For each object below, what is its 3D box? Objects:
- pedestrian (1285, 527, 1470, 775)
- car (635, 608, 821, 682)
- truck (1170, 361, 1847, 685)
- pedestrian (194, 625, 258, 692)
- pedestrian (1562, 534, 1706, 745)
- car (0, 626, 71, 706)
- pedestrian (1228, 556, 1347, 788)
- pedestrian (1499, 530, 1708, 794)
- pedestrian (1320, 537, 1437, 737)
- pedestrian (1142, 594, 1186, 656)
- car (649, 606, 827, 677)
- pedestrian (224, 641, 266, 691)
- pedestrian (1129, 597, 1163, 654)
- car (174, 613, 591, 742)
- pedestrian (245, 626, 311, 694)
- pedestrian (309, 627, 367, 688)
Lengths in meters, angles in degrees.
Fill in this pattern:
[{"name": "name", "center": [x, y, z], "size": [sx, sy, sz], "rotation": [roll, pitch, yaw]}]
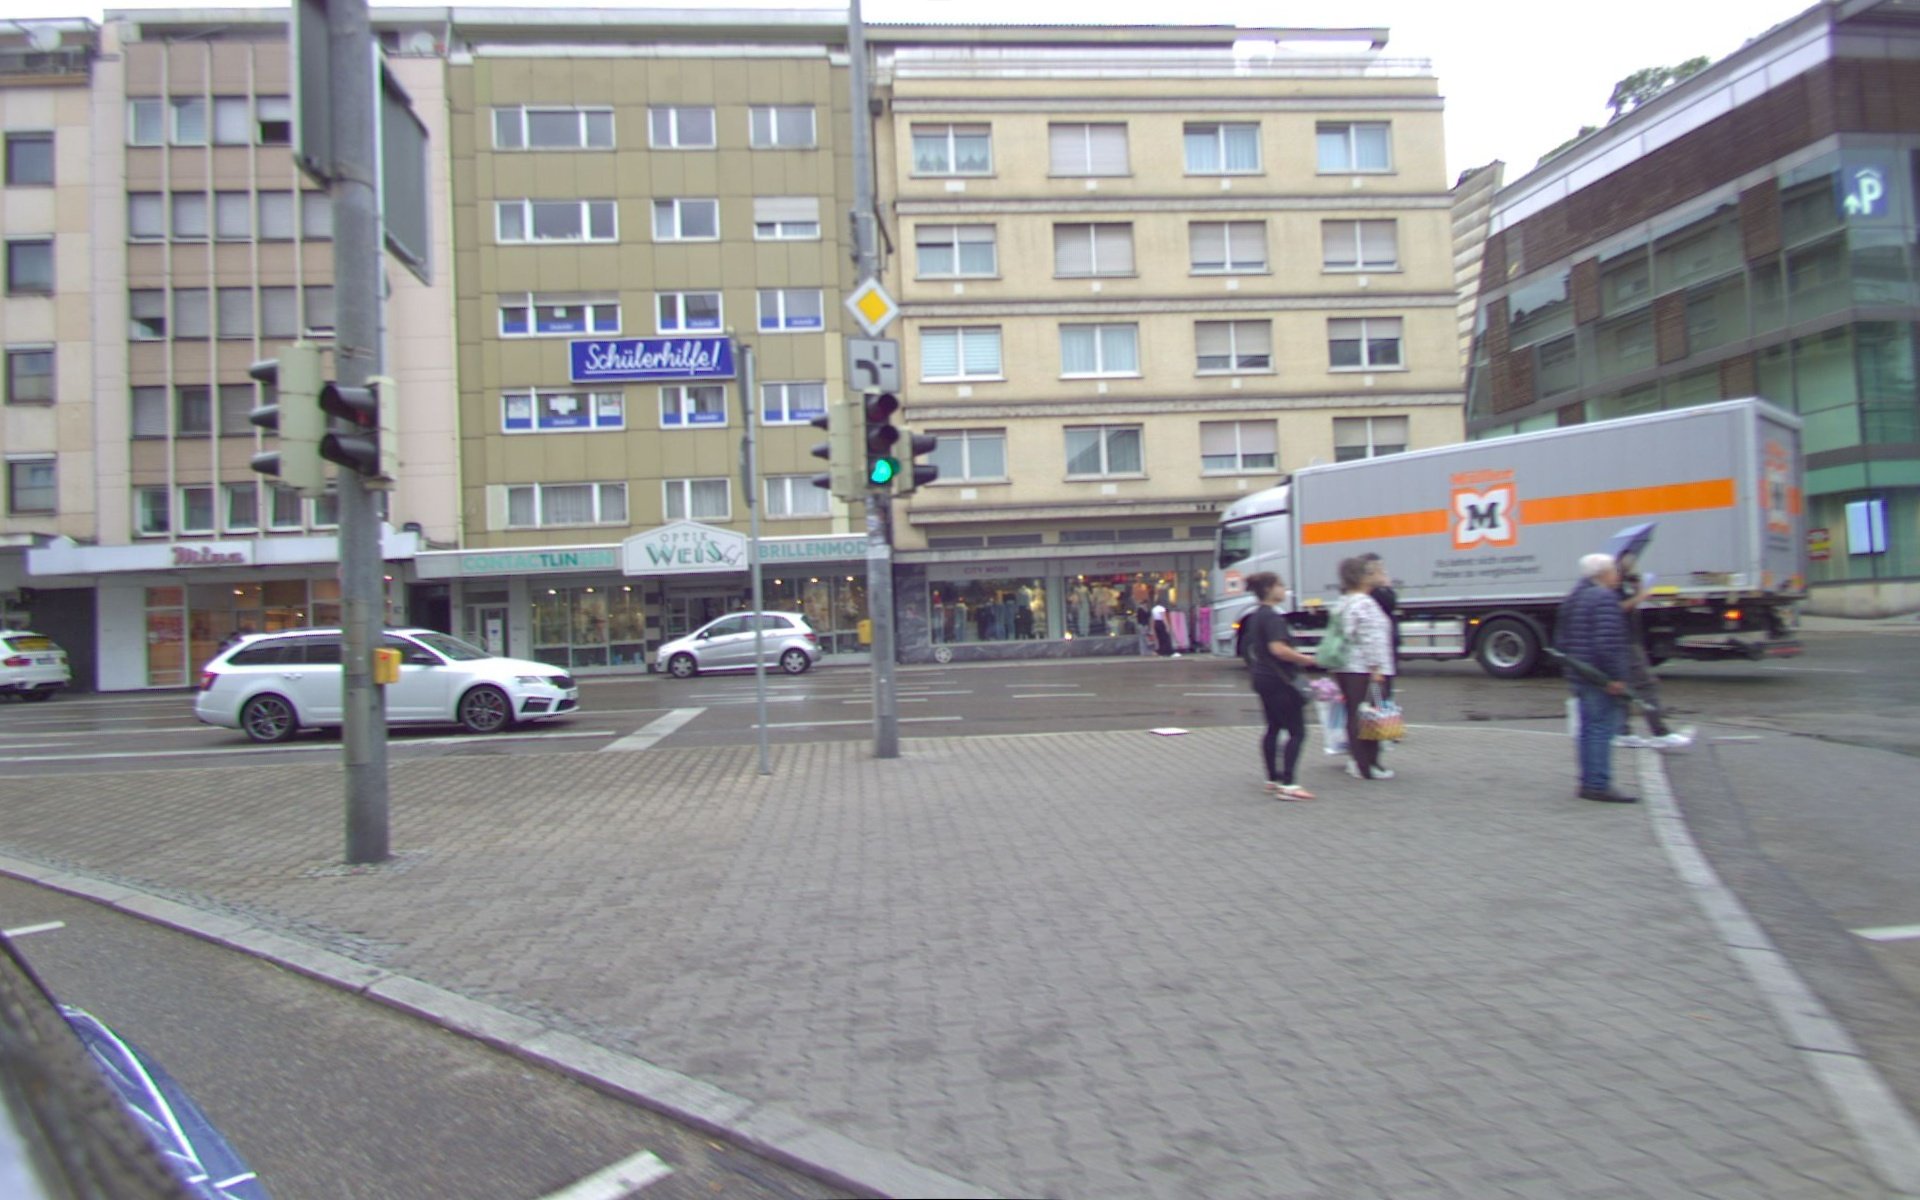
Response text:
[{"name": "pedestrian", "center": [3.045, 0.351, 7.486], "size": [0.902, 1.685, 0.981], "rotation": [-2, 0, 1]}, {"name": "car", "center": [-5.776, 1.089, 25.623], "size": [4.333, 1.562, 1.856], "rotation": [-3, 0, -5]}, {"name": "truck", "center": [9.008, -0.887, 18.837], "size": [2.809, 4.366, 10.796], "rotation": [-1, -1, -36]}, {"name": "pedestrian", "center": [-19.736, 1.570, 27.214], "size": [1.085, 1.727, 0.946], "rotation": [-3, 0, 26]}, {"name": "pedestrian", "center": [5.672, 0.319, 8.553], "size": [0.684, 1.704, 0.759], "rotation": [0, 0, 0]}, {"name": "car", "center": [-24.601, 1.631, 24.224], "size": [4.889, 1.841, 1.857], "rotation": [-2, -1, -4]}, {"name": "pedestrian", "center": [2.213, 0.466, 6.901], "size": [0.552, 1.499, 0.707], "rotation": [-1, 0, 0]}, {"name": "pedestrian", "center": [4.076, 0.373, 6.471], "size": [0.843, 1.580, 0.715], "rotation": [-1, 0, 0]}, {"name": "pedestrian", "center": [3.760, 0.321, 9.152], "size": [0.697, 1.724, 0.786], "rotation": [-1, 0, 0]}, {"name": "pedestrian", "center": [5.534, 0.682, 27.448], "size": [0.845, 1.640, 0.764], "rotation": [-3, -1, 42]}, {"name": "car", "center": [-5.520, 1.018, 25.522], "size": [4.140, 1.575, 1.706], "rotation": [-2, -1, -3]}, {"name": "pedestrian", "center": [-19.176, 1.762, 27.161], "size": [0.710, 1.259, 0.537], "rotation": [-3, 0, -6]}, {"name": "pedestrian", "center": [5.230, 0.713, 28.468], "size": [0.671, 1.548, 0.788], "rotation": [-2, -1, -7]}, {"name": "car", "center": [-7.602, 0.989, 13.702], "size": [4.561, 1.426, 1.800], "rotation": [-2, -2, -5]}, {"name": "pedestrian", "center": [-18.190, 1.587, 27.019], "size": [1.070, 1.708, 0.956], "rotation": [-3, 0, -6]}, {"name": "pedestrian", "center": [-16.191, 1.484, 26.364], "size": [1.049, 1.495, 0.670], "rotation": [-2, 0, -6]}]
